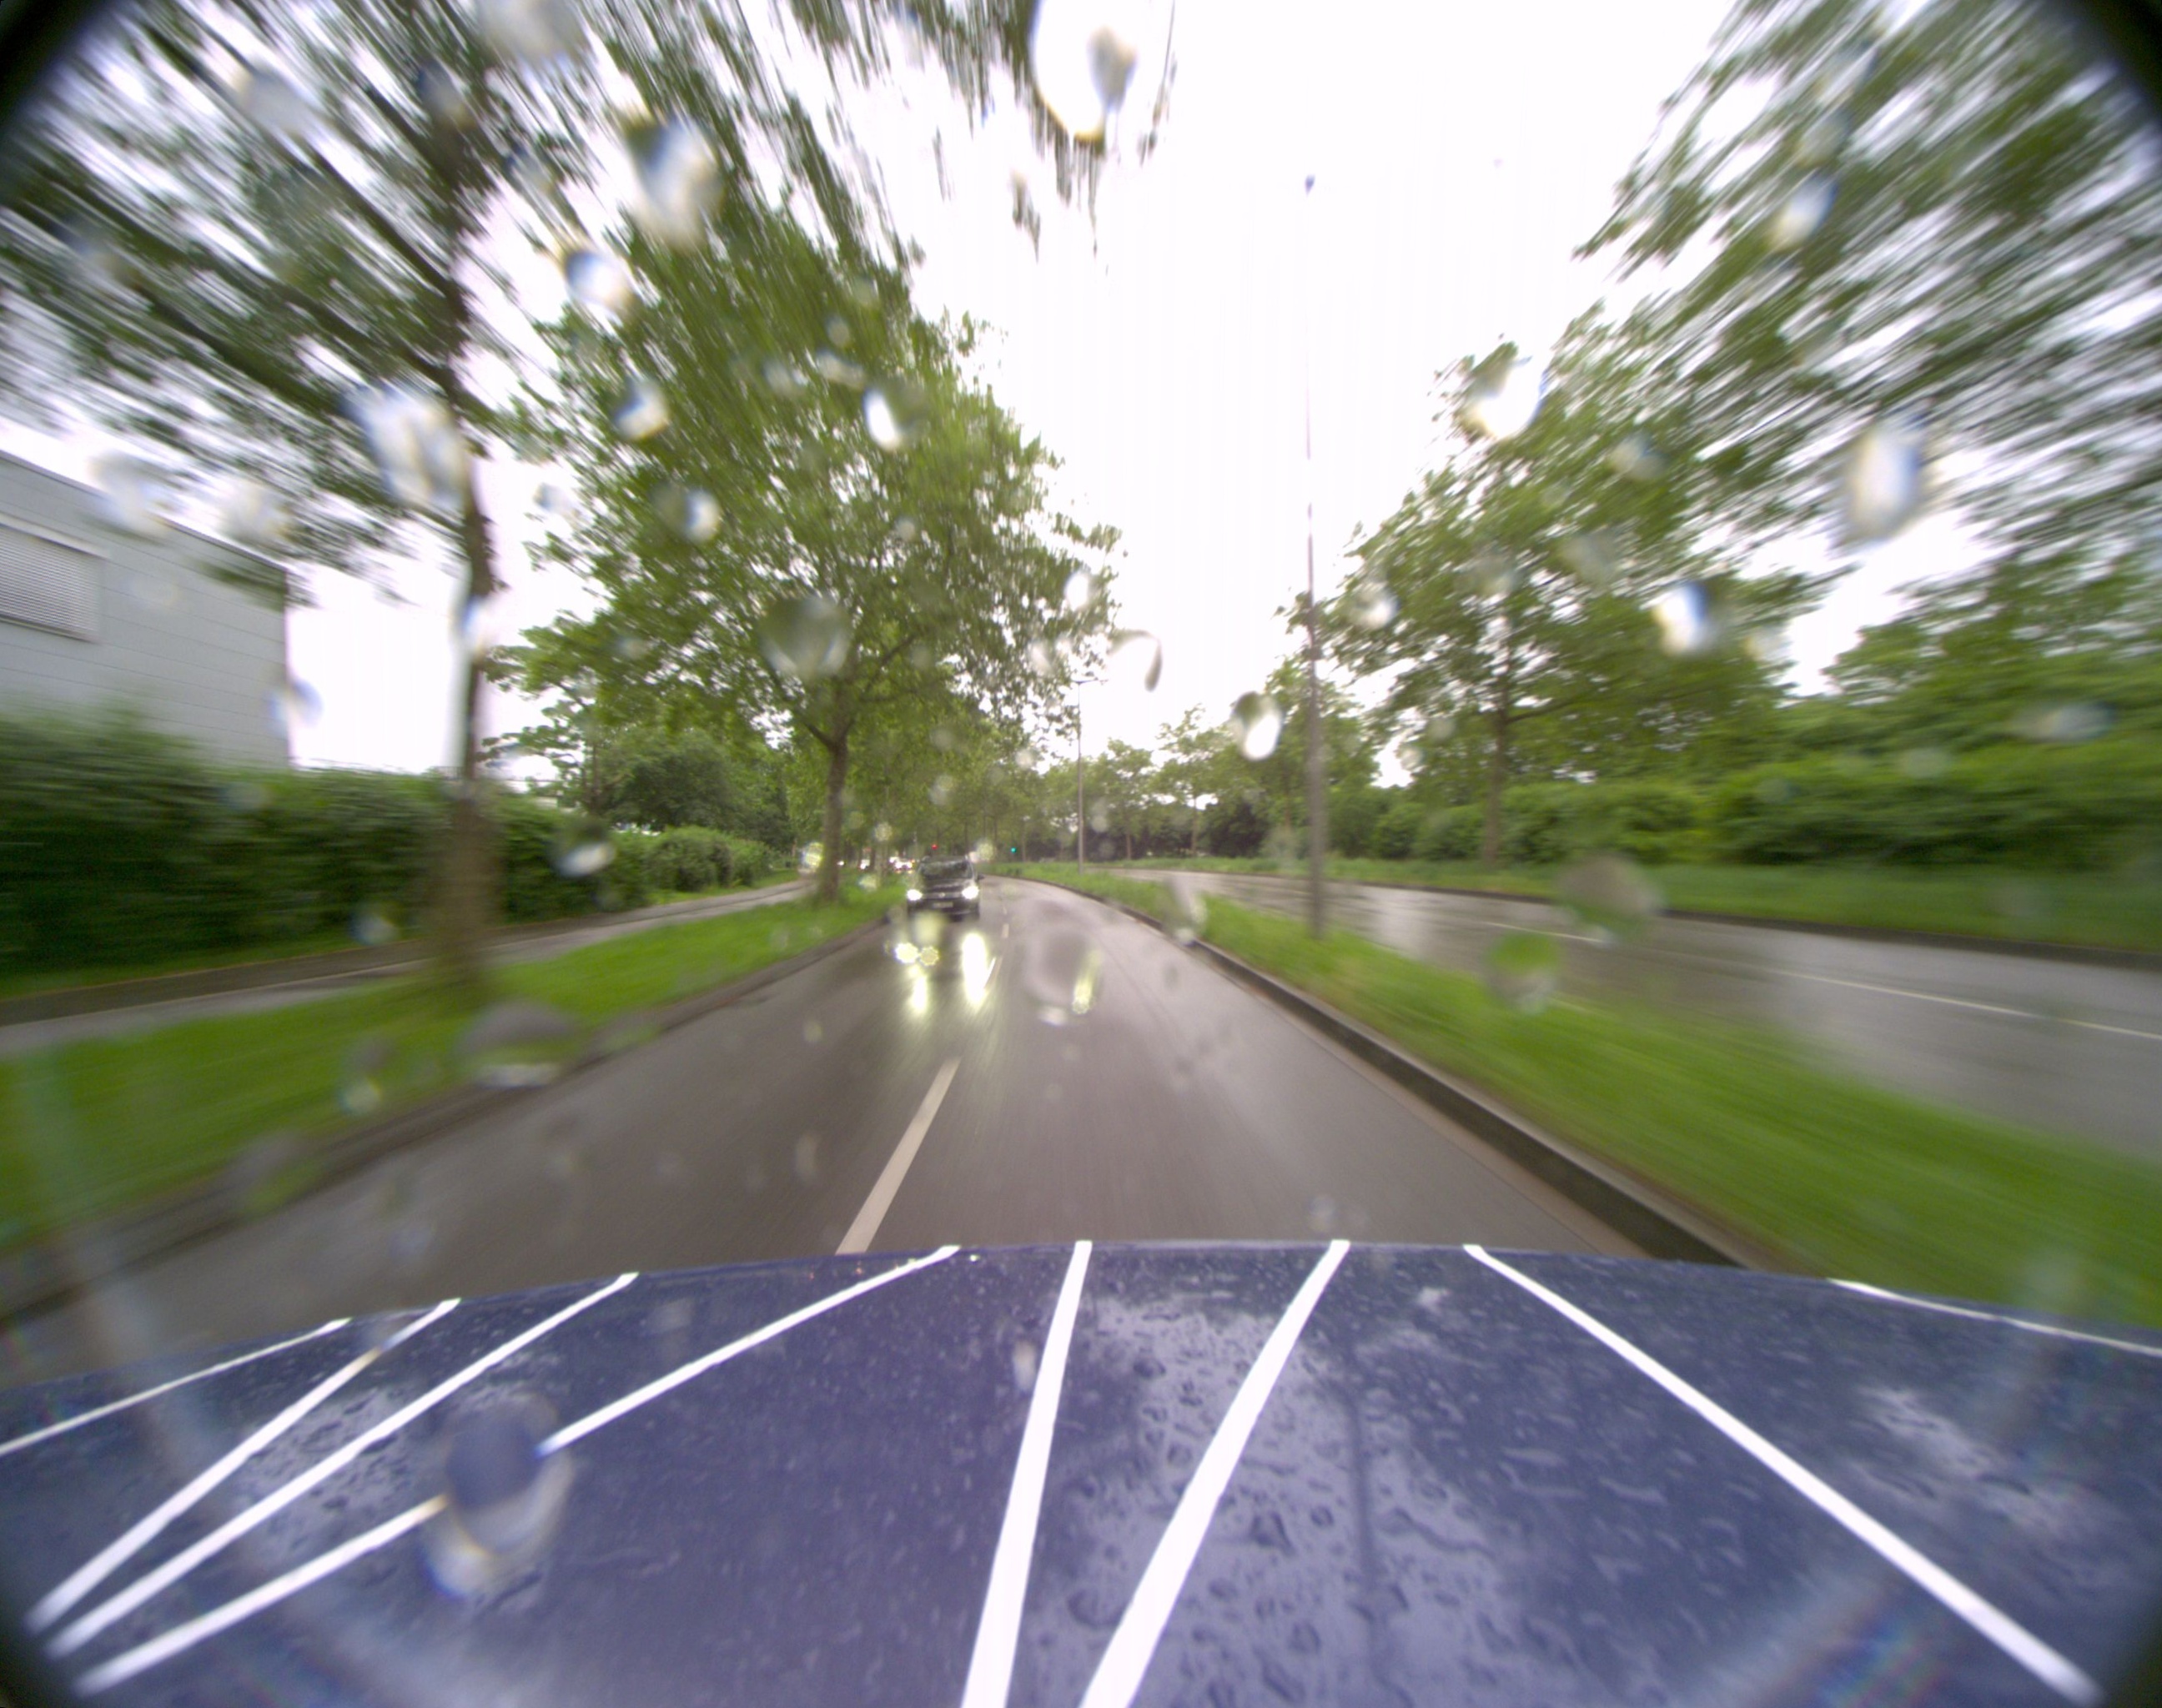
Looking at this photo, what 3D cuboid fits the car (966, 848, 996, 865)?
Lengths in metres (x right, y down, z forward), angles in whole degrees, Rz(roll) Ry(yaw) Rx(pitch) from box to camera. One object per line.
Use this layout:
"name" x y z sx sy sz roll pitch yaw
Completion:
"car" -14.950 0.366 113.203 2.289 2.412 6.345 -2 0 -29

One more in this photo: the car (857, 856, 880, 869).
"car" -26.133 1.075 93.397 1.788 1.546 3.991 -2 0 -28

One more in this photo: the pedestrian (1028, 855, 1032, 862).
"pedestrian" -7.692 0.680 114.794 0.476 1.034 0.441 -2 1 -19

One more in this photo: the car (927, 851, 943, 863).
"car" -26.082 0.546 135.798 1.942 1.929 5.189 -2 0 -19

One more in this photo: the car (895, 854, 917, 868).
"car" -20.886 0.803 90.541 1.787 1.546 3.992 -2 0 -25

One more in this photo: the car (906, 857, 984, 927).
"car" -3.531 0.924 20.311 1.785 1.546 3.997 -3 1 -7
